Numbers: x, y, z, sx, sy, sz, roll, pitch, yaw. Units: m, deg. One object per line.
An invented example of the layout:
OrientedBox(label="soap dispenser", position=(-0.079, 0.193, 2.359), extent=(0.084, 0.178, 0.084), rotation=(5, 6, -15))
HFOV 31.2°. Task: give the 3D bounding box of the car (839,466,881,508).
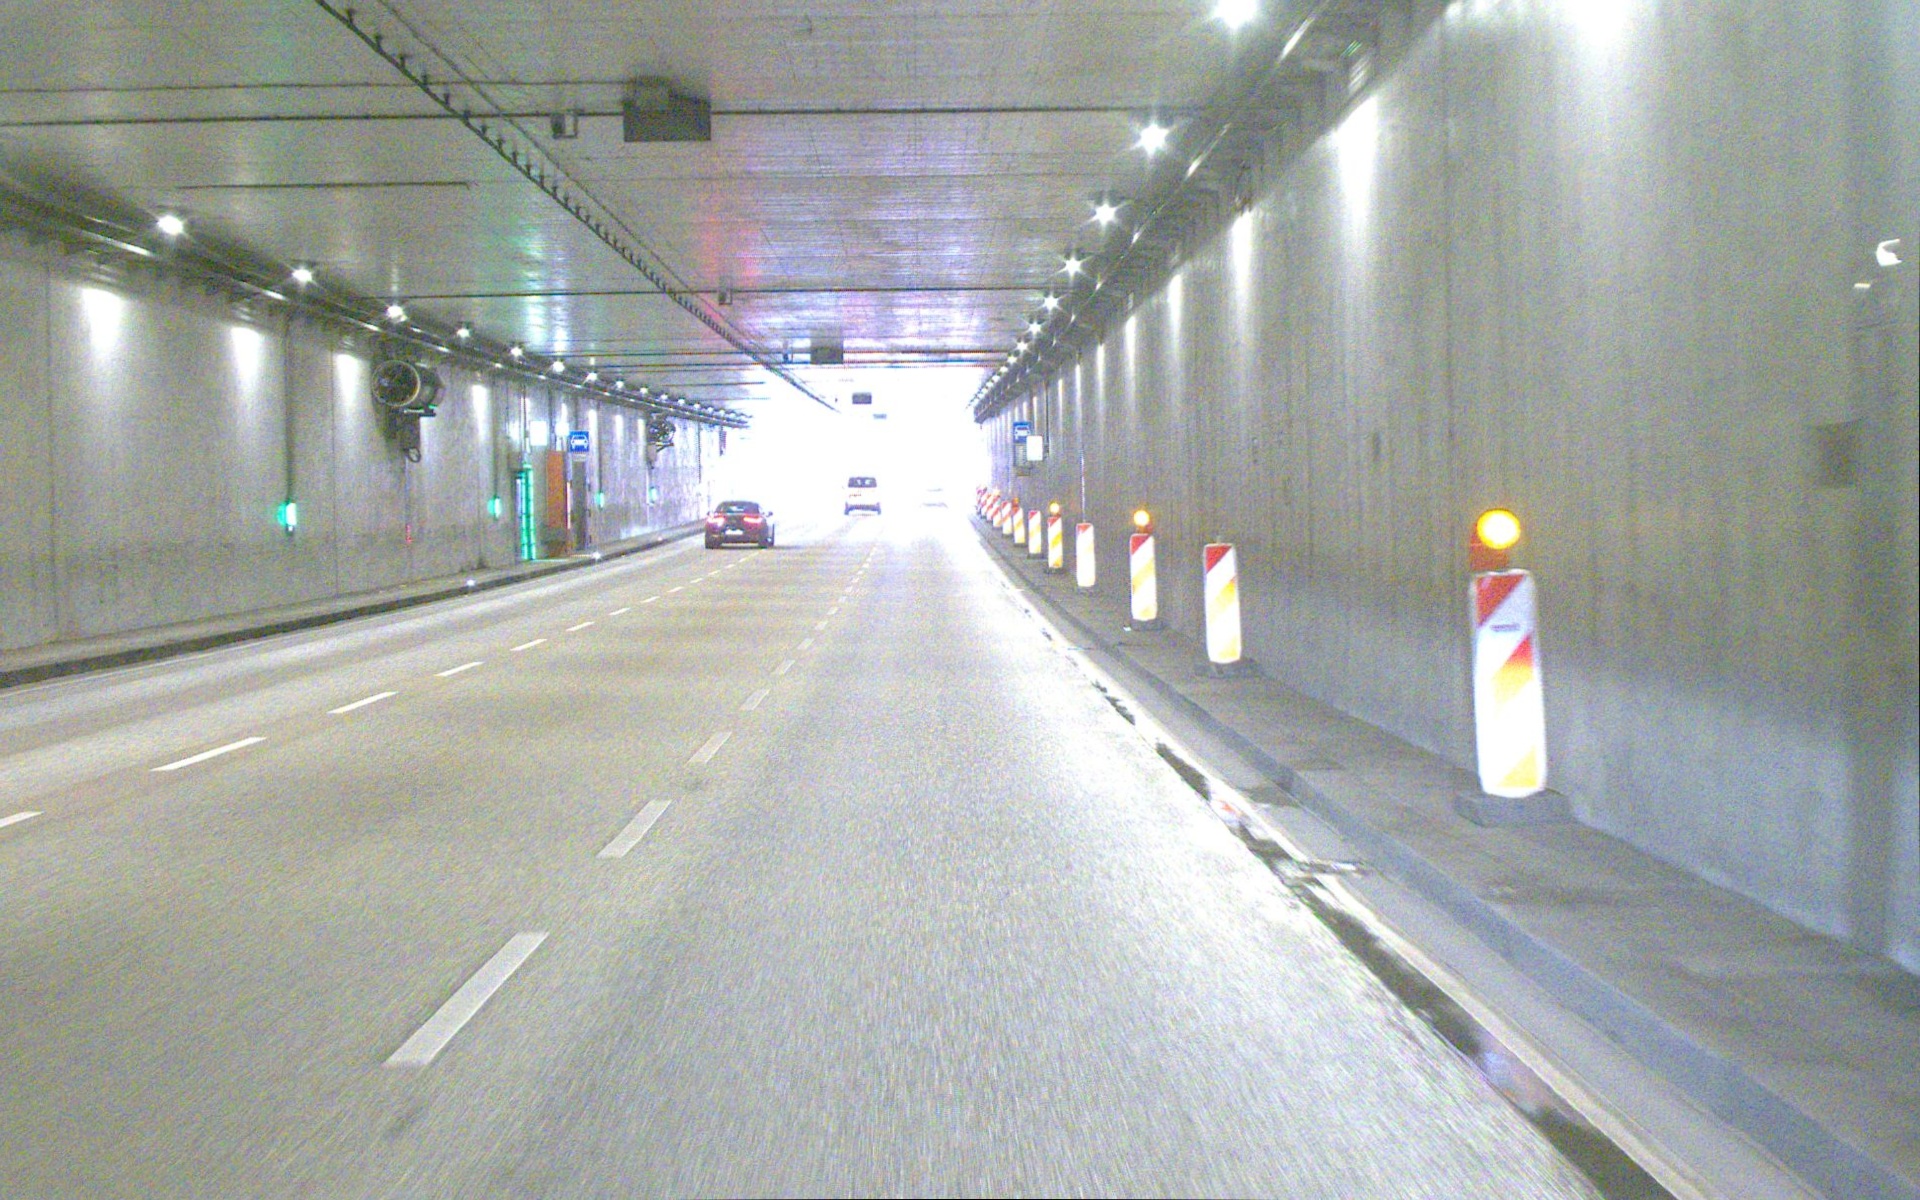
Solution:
OrientedBox(label="car", position=(-4.903, -5.541, 168.953), extent=(1.993, 2.007, 4.000), rotation=(0, 1, 0))

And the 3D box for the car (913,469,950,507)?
OrientedBox(label="car", position=(-1.533, -6.001, 184.967), extent=(1.993, 2.007, 4.000), rotation=(0, 1, 0))

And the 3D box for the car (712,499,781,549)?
OrientedBox(label="car", position=(-6.420, -2.289, 103.103), extent=(1.993, 1.443, 4.315), rotation=(1, 2, -4))
